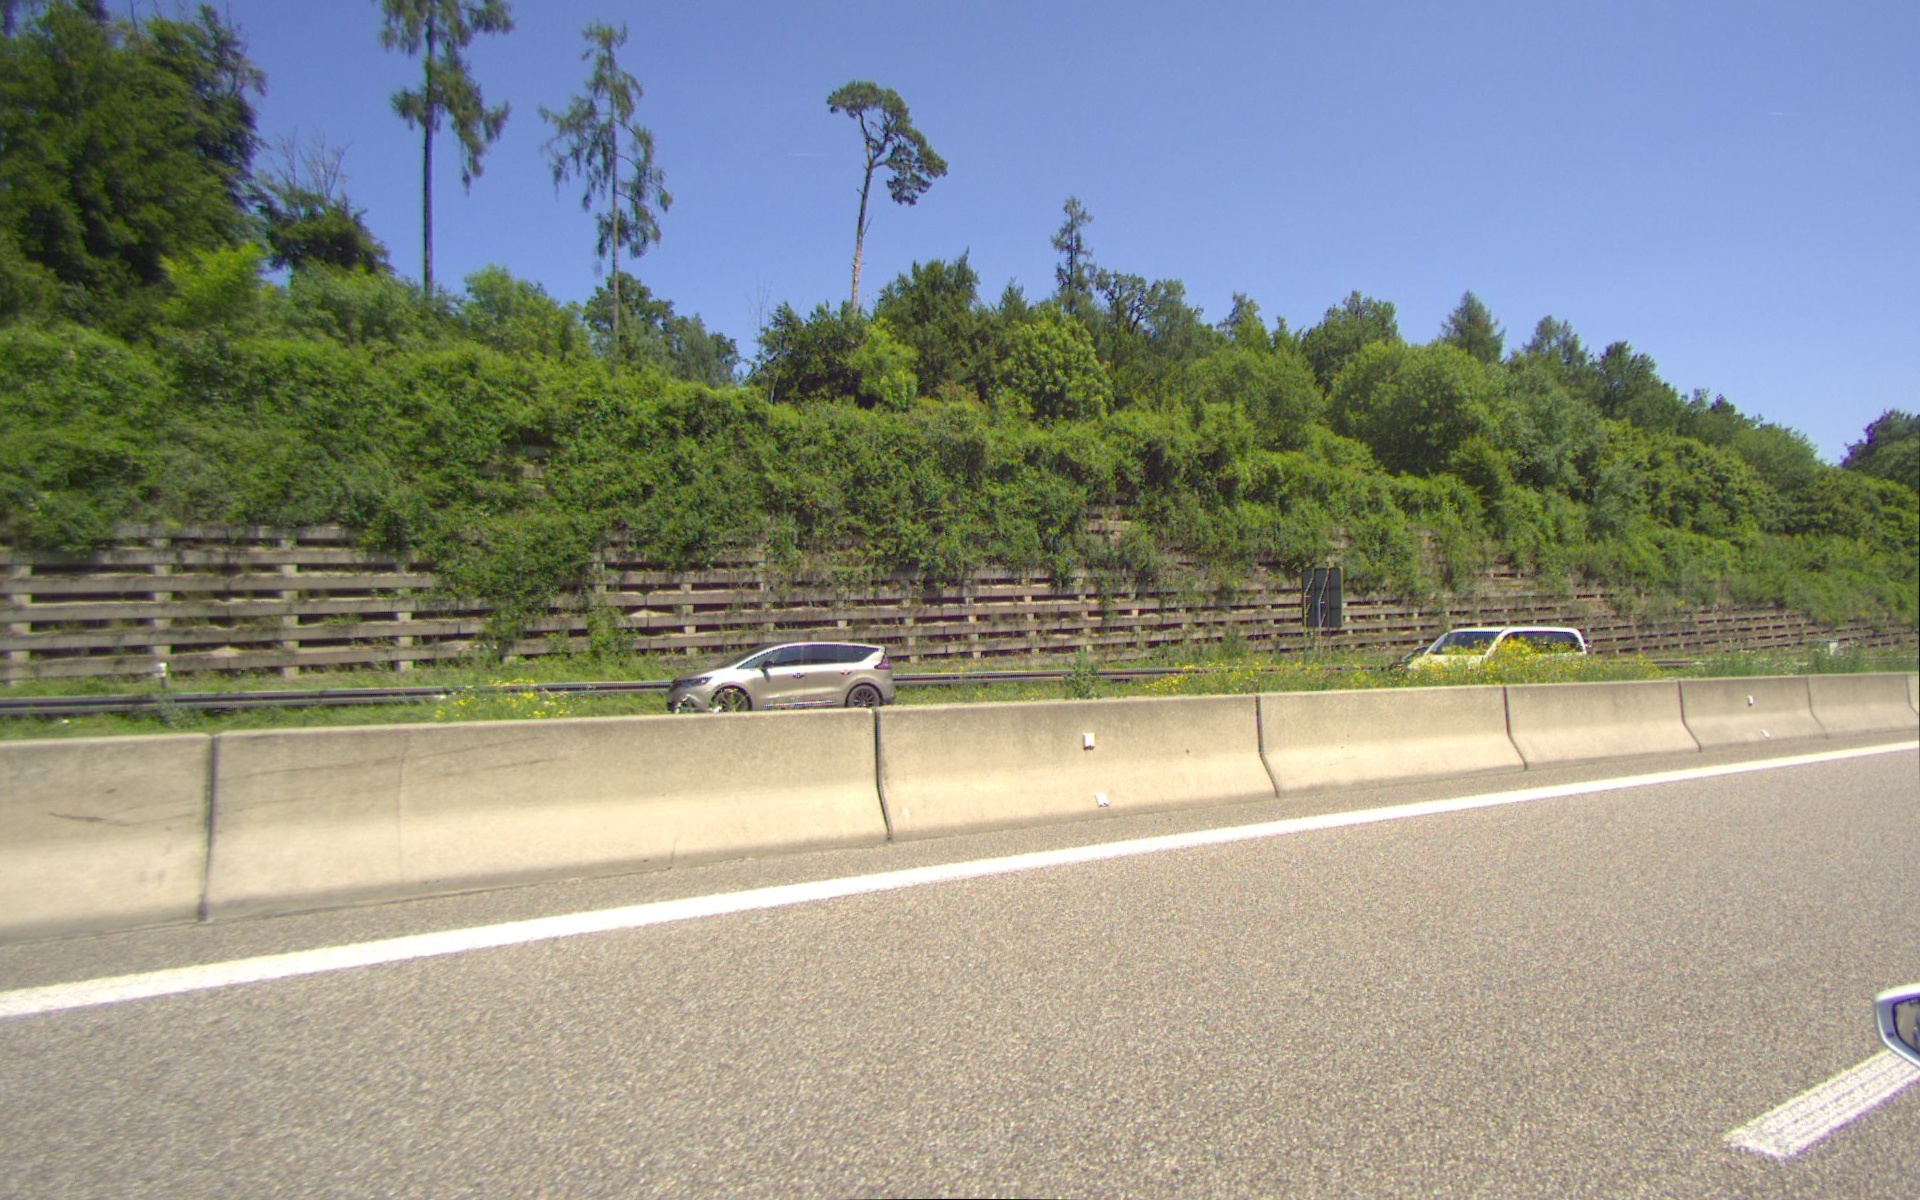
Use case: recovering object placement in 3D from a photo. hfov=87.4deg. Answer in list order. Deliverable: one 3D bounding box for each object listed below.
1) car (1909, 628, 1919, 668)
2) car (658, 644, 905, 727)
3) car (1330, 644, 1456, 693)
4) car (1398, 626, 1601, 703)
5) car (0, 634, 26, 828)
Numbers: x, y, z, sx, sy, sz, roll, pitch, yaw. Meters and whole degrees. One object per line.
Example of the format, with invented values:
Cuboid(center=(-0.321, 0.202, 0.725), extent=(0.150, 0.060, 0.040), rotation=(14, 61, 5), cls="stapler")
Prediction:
Cuboid(center=(39.328, 1.888, 39.503), extent=(4.152, 1.542, 1.780), rotation=(1, -2, -29), cls="car")
Cuboid(center=(-3.676, 1.712, 21.028), extent=(4.863, 1.472, 1.650), rotation=(0, -1, -30), cls="car")
Cuboid(center=(14.790, 2.295, 34.275), extent=(4.154, 1.542, 1.928), rotation=(1, -2, -31), cls="car")
Cuboid(center=(12.851, 1.449, 23.844), extent=(5.016, 1.628, 1.884), rotation=(0, -1, -30), cls="car")
Cuboid(center=(-9.000, 1.024, 6.632), extent=(3.838, 1.473, 1.650), rotation=(0, 1, -30), cls="car")
